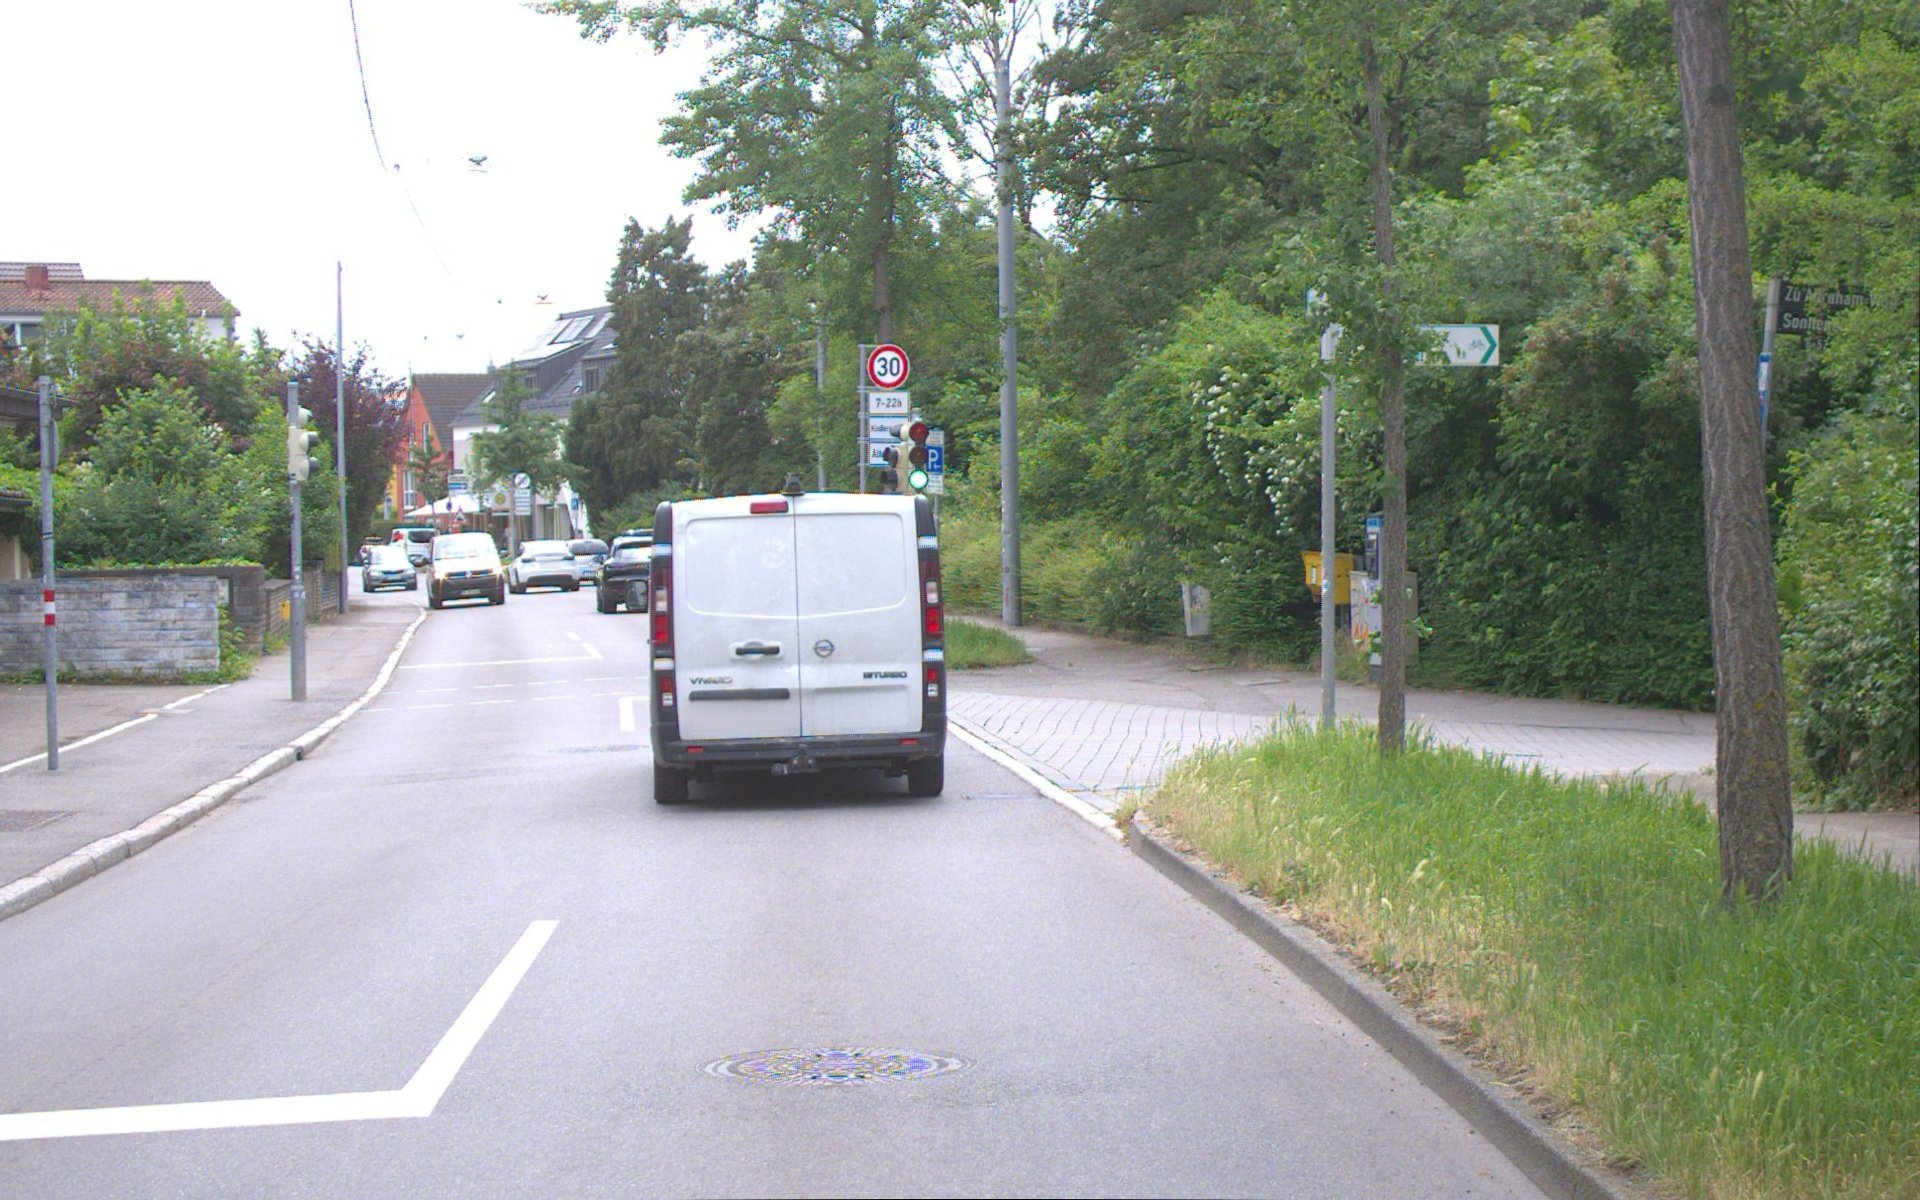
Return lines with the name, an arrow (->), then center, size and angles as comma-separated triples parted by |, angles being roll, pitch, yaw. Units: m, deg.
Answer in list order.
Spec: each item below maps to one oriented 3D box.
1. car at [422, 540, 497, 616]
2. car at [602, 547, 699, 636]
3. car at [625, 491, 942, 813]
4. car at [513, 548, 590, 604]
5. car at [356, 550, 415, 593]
car -> -13.443, -0.626, 92.539 | 1.867, 1.904, 5.117 | -3, 1, -8
car -> -6.581, -0.195, 73.492 | 1.896, 1.853, 4.404 | 0, 0, -3
car -> -1.130, 0.303, 23.124 | 1.930, 1.957, 4.402 | 0, 0, -1
car -> -12.753, -0.748, 107.242 | 1.824, 1.722, 4.001 | 0, 0, -15
car -> -21.368, -1.085, 127.816 | 1.883, 1.507, 4.114 | -2, 1, -13
